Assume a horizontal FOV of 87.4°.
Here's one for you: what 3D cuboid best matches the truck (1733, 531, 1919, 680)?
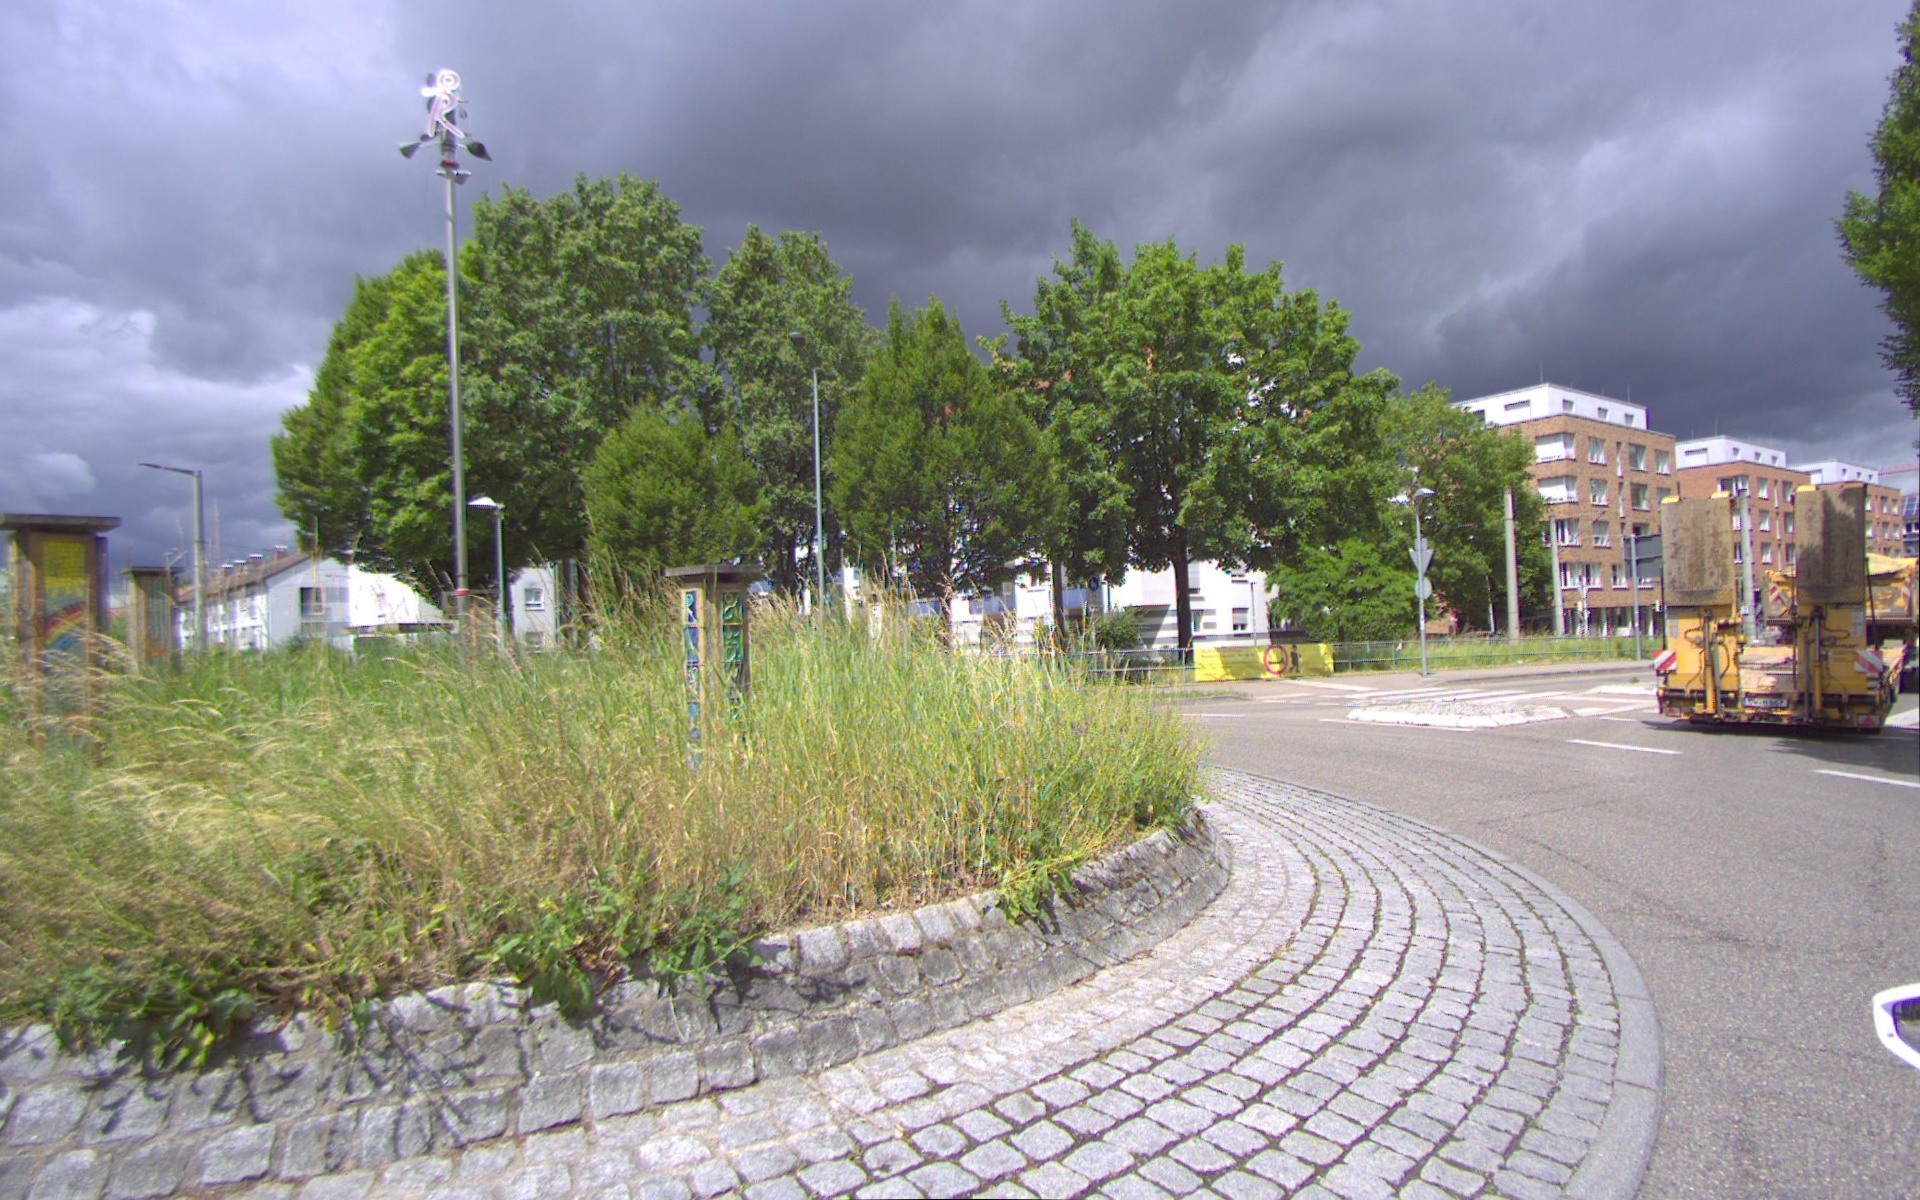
[{"bbox_3d":[21.952,0.227,24.569,8.415,3.074,2.964,0,-4,-40],"label":"truck"}]

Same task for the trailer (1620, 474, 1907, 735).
[{"bbox_3d":[14.773,0.168,17.977,2.835,3.417,10.772,-2,-2,45],"label":"trailer"}]

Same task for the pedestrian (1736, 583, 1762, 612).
[{"bbox_3d":[58.354,-0.162,74.313,0.986,2.040,1.132,0,-3,-31],"label":"pedestrian"}]
